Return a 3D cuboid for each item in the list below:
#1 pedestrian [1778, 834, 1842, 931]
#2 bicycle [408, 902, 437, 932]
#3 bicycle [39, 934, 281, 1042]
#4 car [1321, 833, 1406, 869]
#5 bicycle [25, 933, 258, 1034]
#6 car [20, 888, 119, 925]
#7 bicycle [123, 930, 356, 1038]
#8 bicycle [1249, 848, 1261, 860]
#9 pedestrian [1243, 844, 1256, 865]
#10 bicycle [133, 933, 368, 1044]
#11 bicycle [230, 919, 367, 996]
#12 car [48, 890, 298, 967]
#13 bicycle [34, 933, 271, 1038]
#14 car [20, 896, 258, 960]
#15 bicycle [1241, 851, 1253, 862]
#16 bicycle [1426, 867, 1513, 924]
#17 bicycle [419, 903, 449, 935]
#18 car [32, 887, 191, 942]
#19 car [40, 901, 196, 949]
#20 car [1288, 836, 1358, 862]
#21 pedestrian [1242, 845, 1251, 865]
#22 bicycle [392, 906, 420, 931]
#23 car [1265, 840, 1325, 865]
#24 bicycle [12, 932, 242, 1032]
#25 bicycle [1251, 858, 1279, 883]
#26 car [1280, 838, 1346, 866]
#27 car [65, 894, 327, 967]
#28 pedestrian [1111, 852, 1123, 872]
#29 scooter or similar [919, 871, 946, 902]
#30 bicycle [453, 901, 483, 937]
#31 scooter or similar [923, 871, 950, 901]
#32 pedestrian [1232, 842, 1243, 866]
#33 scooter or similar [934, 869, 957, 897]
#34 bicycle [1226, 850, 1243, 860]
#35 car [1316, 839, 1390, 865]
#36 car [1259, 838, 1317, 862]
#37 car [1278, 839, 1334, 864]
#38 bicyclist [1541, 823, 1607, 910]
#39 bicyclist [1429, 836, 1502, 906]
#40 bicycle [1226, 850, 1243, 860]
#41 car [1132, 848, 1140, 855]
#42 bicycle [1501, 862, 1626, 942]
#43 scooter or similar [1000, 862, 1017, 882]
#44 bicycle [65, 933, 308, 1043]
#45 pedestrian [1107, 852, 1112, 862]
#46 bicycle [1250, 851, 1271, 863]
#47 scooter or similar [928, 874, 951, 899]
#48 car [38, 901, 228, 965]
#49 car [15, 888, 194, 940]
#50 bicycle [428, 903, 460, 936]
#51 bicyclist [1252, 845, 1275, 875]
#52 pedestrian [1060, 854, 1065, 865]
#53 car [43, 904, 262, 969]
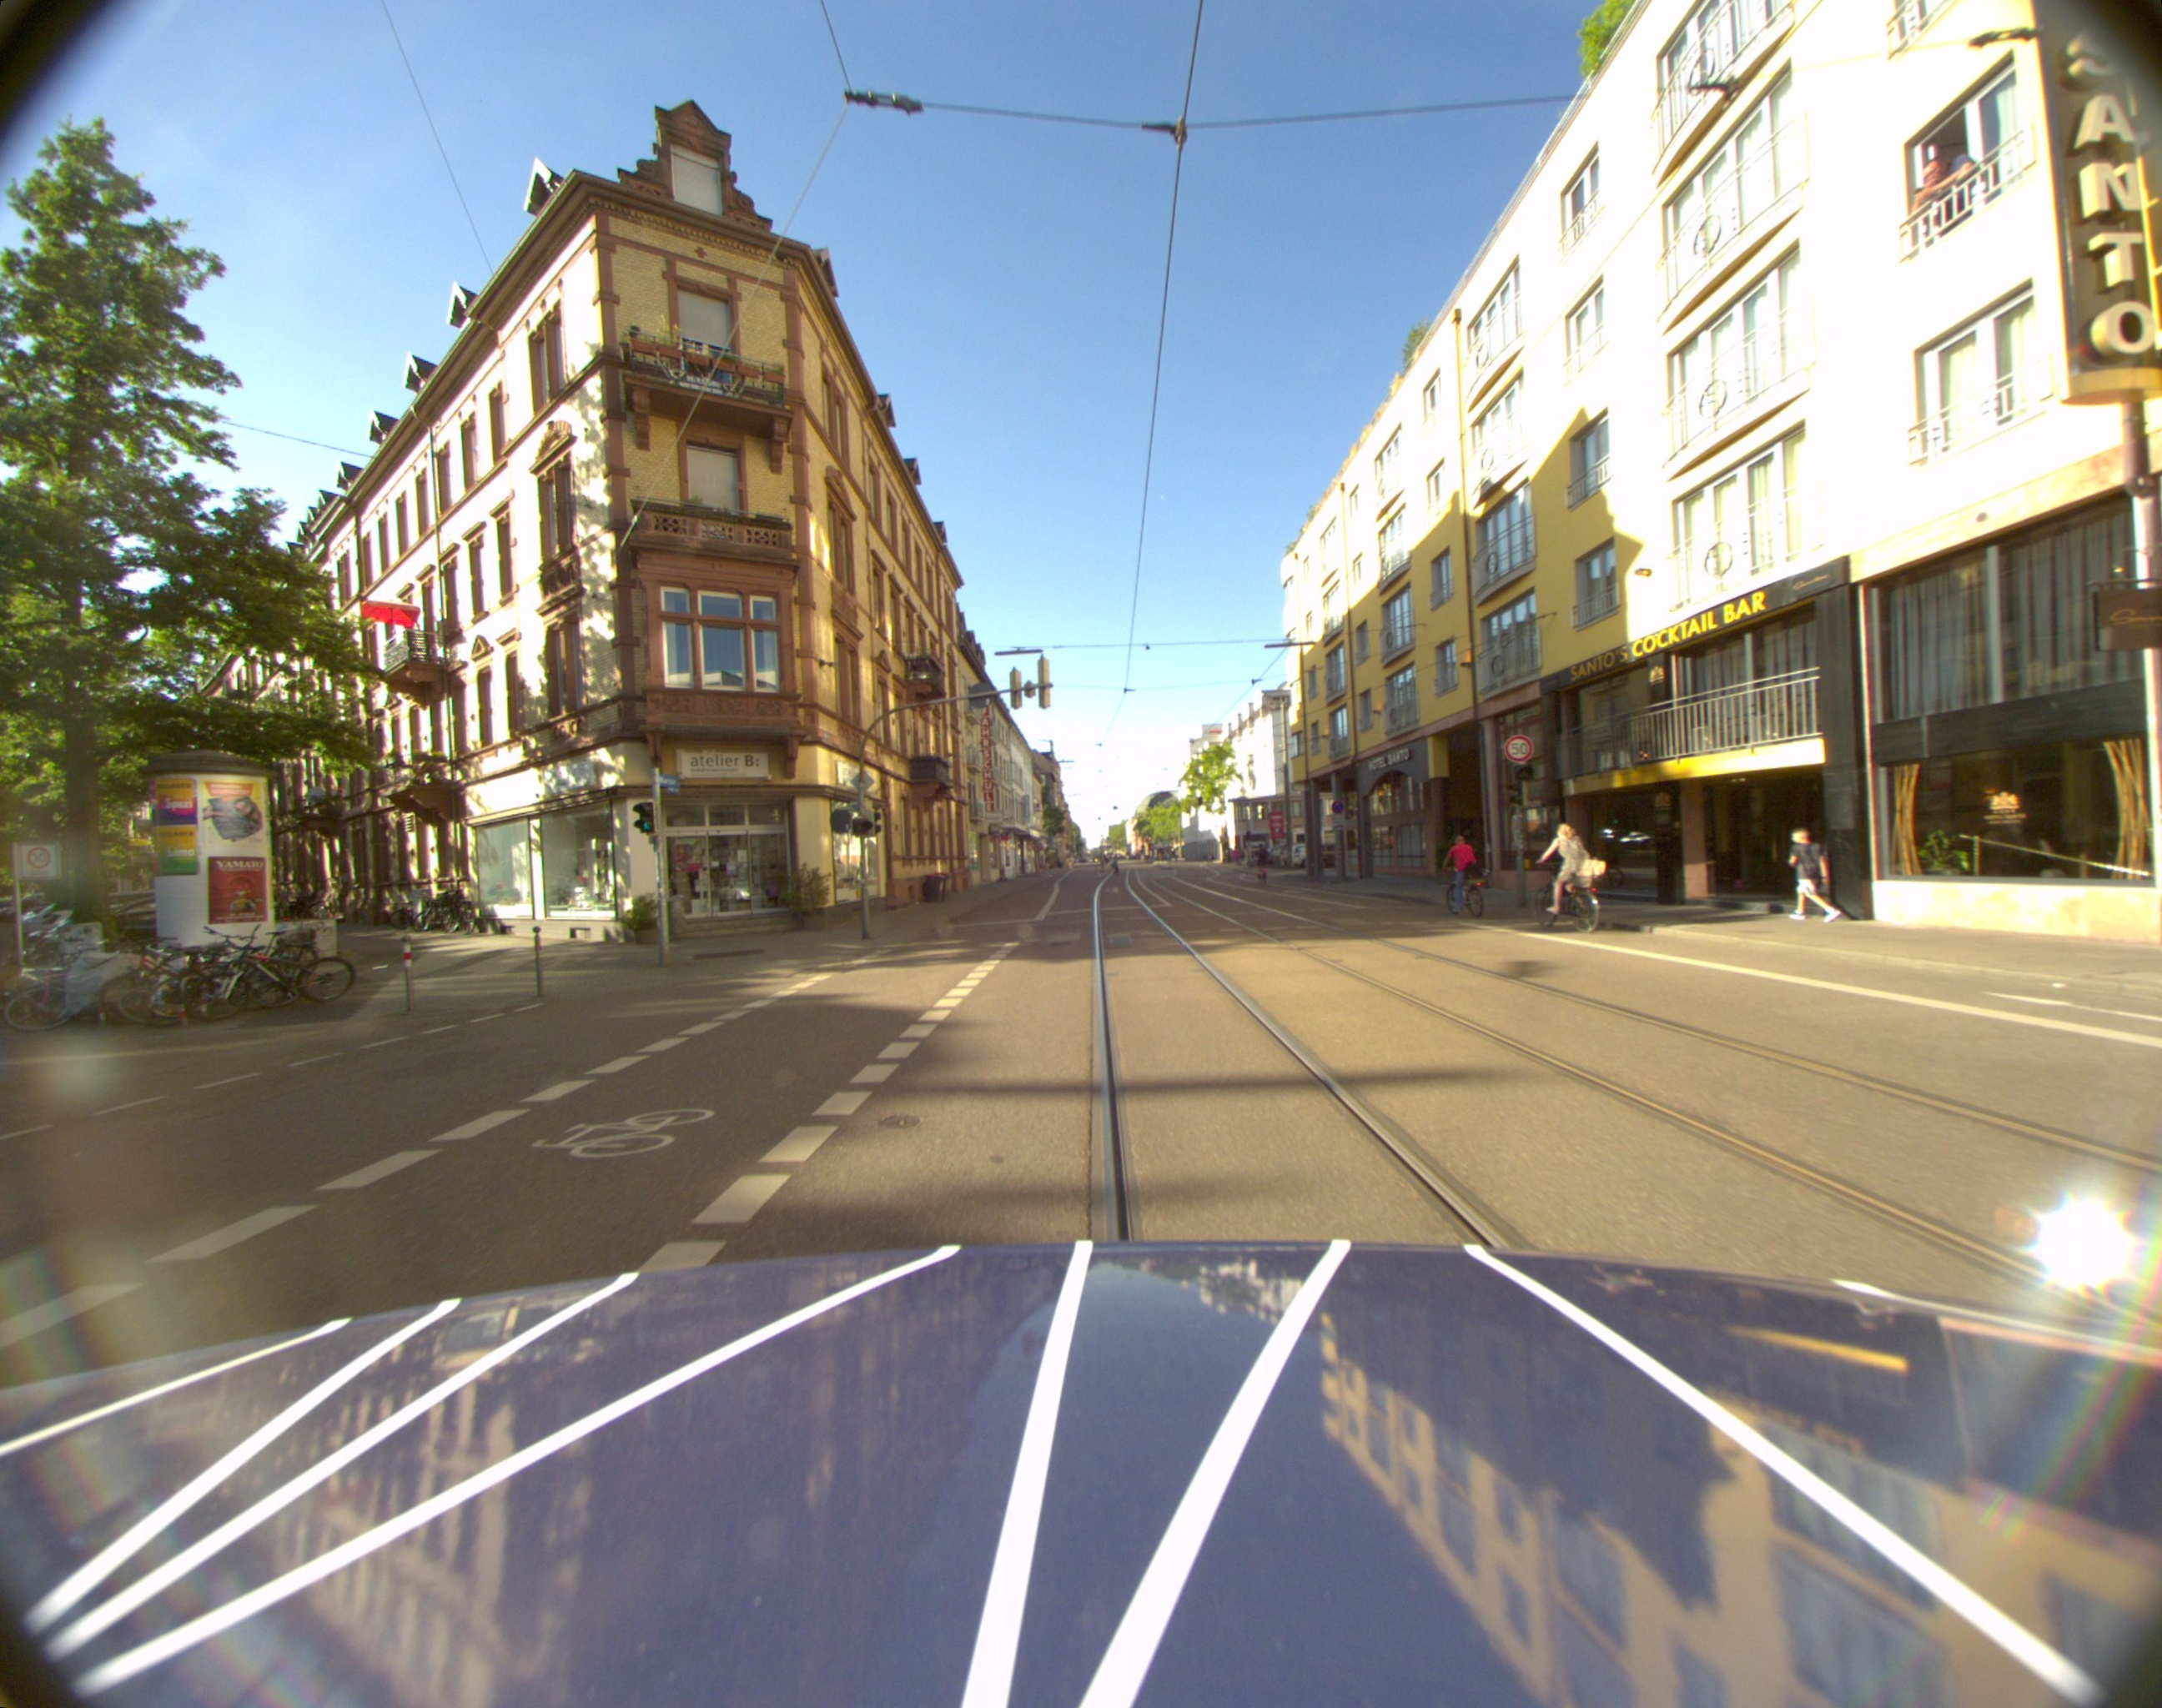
[{"bbox_3d":[10.928,0.416,11.398,0.405,1.402,0.516,-3,1,-8],"label":"pedestrian"},{"bbox_3d":[-21.581,2.052,24.905,1.342,0.951,0.398,-3,1,36],"label":"bicycle"},{"bbox_3d":[-13.576,1.919,11.311,0.617,1.136,2.122,-2,2,23],"label":"bicycle"},{"bbox_3d":[16.432,-0.175,44.302,4.243,1.801,1.785,-3,1,2],"label":"car"},{"bbox_3d":[-14.587,1.961,11.907,0.617,1.136,2.122,-2,2,23],"label":"bicycle"},{"bbox_3d":[-71.888,3.711,54.067,1.547,2.308,4.007,-3,0,32],"label":"car"},{"bbox_3d":[-12.179,1.830,11.115,0.617,1.136,2.123,-2,2,23],"label":"bicycle"},{"bbox_3d":[16.648,0.008,72.794,0.464,1.073,1.878,-3,0,-6],"label":"bicycle"},{"bbox_3d":[14.380,0.042,64.853,0.715,1.754,0.779,-3,1,-7],"label":"pedestrian"},{"bbox_3d":[-11.767,1.850,10.891,0.617,1.136,2.123,-2,2,23],"label":"bicycle"},{"bbox_3d":[-14.587,1.898,14.226,0.543,1.136,1.619,-2,3,23],"label":"bicycle"},{"bbox_3d":[-24.206,1.912,20.436,1.821,1.592,4.007,-3,0,31],"label":"car"},{"bbox_3d":[-14.041,1.932,11.605,0.617,1.136,2.122,-2,2,23],"label":"bicycle"},{"bbox_3d":[-26.452,2.018,21.502,1.547,1.349,4.007,-2,0,31],"label":"car"},{"bbox_3d":[16.022,0.244,73.453,0.525,1.030,1.878,-3,0,-6],"label":"bicycle"},{"bbox_3d":[8.075,0.827,15.901,0.732,1.059,2.061,-1,0,-1],"label":"bicycle"},{"bbox_3d":[-20.323,2.037,23.852,1.283,0.951,0.398,-3,1,36],"label":"bicycle"},{"bbox_3d":[-46.765,2.862,36.758,1.842,2.189,4.481,-3,0,32],"label":"car"},{"bbox_3d":[-38.734,2.819,30.649,1.547,1.516,3.691,-3,0,32],"label":"car"},{"bbox_3d":[16.807,-0.348,52.982,4.243,1.599,1.786,-2,-2,2],"label":"car"},{"bbox_3d":[13.691,0.089,62.955,0.573,1.608,0.499,-3,1,0],"label":"pedestrian"},{"bbox_3d":[-22.935,2.192,25.811,1.342,0.793,0.398,-3,1,36],"label":"bicycle"},{"bbox_3d":[17.006,-0.125,60.469,4.243,1.801,1.785,-3,0,2],"label":"car"},{"bbox_3d":[-15.129,1.981,12.156,0.617,1.136,2.122,-2,2,23],"label":"bicycle"},{"bbox_3d":[8.515,0.732,35.217,0.732,1.082,2.061,-3,0,-1],"label":"bicycle"},{"bbox_3d":[16.885,-0.146,55.433,4.244,1.802,1.784,-2,2,1],"label":"car"},{"bbox_3d":[-22.156,1.841,19.219,1.821,1.363,4.007,-3,0,31],"label":"car"},{"bbox_3d":[2.927,0.650,61.693,0.781,1.551,0.650,-3,1,-3],"label":"pedestrian"},{"bbox_3d":[-5.661,1.235,28.983,0.899,1.142,0.547,1,0,-1],"label":"scooter or similar"},{"bbox_3d":[-17.802,1.874,22.068,0.996,0.998,0.398,-3,1,36],"label":"bicycle"},{"bbox_3d":[-5.683,1.247,29.899,0.935,1.142,0.650,1,0,-1],"label":"scooter or similar"},{"bbox_3d":[12.997,0.031,63.103,0.639,1.935,0.709,-3,1,0],"label":"pedestrian"},{"bbox_3d":[-5.718,1.211,32.120,0.792,1.142,0.790,1,0,-1],"label":"scooter or similar"},{"bbox_3d":[18.576,0.100,92.047,1.877,1.071,0.465,-3,1,9],"label":"bicycle"},{"bbox_3d":[17.926,-0.165,50.252,4.244,1.539,1.784,-2,2,1],"label":"car"},{"bbox_3d":[17.102,-0.331,63.007,4.244,1.801,1.785,-3,0,1],"label":"car"},{"bbox_3d":[17.159,-0.201,58.063,3.698,1.663,1.785,-3,0,1],"label":"car"},{"bbox_3d":[8.101,0.202,12.512,0.591,1.368,0.679,-3,1,-1],"label":"bicyclist"},{"bbox_3d":[8.049,0.346,15.969,0.737,1.373,1.468,-3,0,-1],"label":"bicyclist"},{"bbox_3d":[18.486,0.104,91.561,1.877,1.071,0.465,-3,1,9],"label":"bicycle"},{"bbox_3d":[17.755,-0.766,245.141,1.884,2.001,4.000,-5,-1,0],"label":"car"},{"bbox_3d":[8.050,0.754,12.804,0.732,1.176,2.061,-3,0,0],"label":"bicycle"},{"bbox_3d":[-5.051,1.262,52.843,0.410,1.274,1.286,15,0,17],"label":"scooter or similar"},{"bbox_3d":[-12.872,1.870,11.052,0.617,1.136,2.122,-2,2,23],"label":"bicycle"},{"bbox_3d":[4.713,0.487,124.546,0.716,1.635,0.400,-3,1,3],"label":"pedestrian"},{"bbox_3d":[16.830,0.324,71.195,1.875,1.030,0.426,-3,0,26],"label":"bicycle"},{"bbox_3d":[-5.689,1.294,30.657,0.792,0.952,0.680,1,0,-1],"label":"scooter or similar"},{"bbox_3d":[-32.567,2.635,26.229,1.517,1.747,3.871,-2,0,31],"label":"car"},{"bbox_3d":[-42.585,2.540,33.286,1.547,1.822,4.679,-3,0,36],"label":"car"},{"bbox_3d":[-19.220,1.956,22.927,1.283,0.951,0.398,-3,1,36],"label":"bicycle"},{"bbox_3d":[8.489,0.274,35.388,0.726,1.373,1.227,-3,0,-1],"label":"bicyclist"},{"bbox_3d":[-2.826,0.853,118.589,0.695,1.680,0.688,-3,1,1],"label":"pedestrian"},{"bbox_3d":[-28.150,2.429,23.190,1.547,1.516,4.007,-2,0,31],"label":"car"}]
